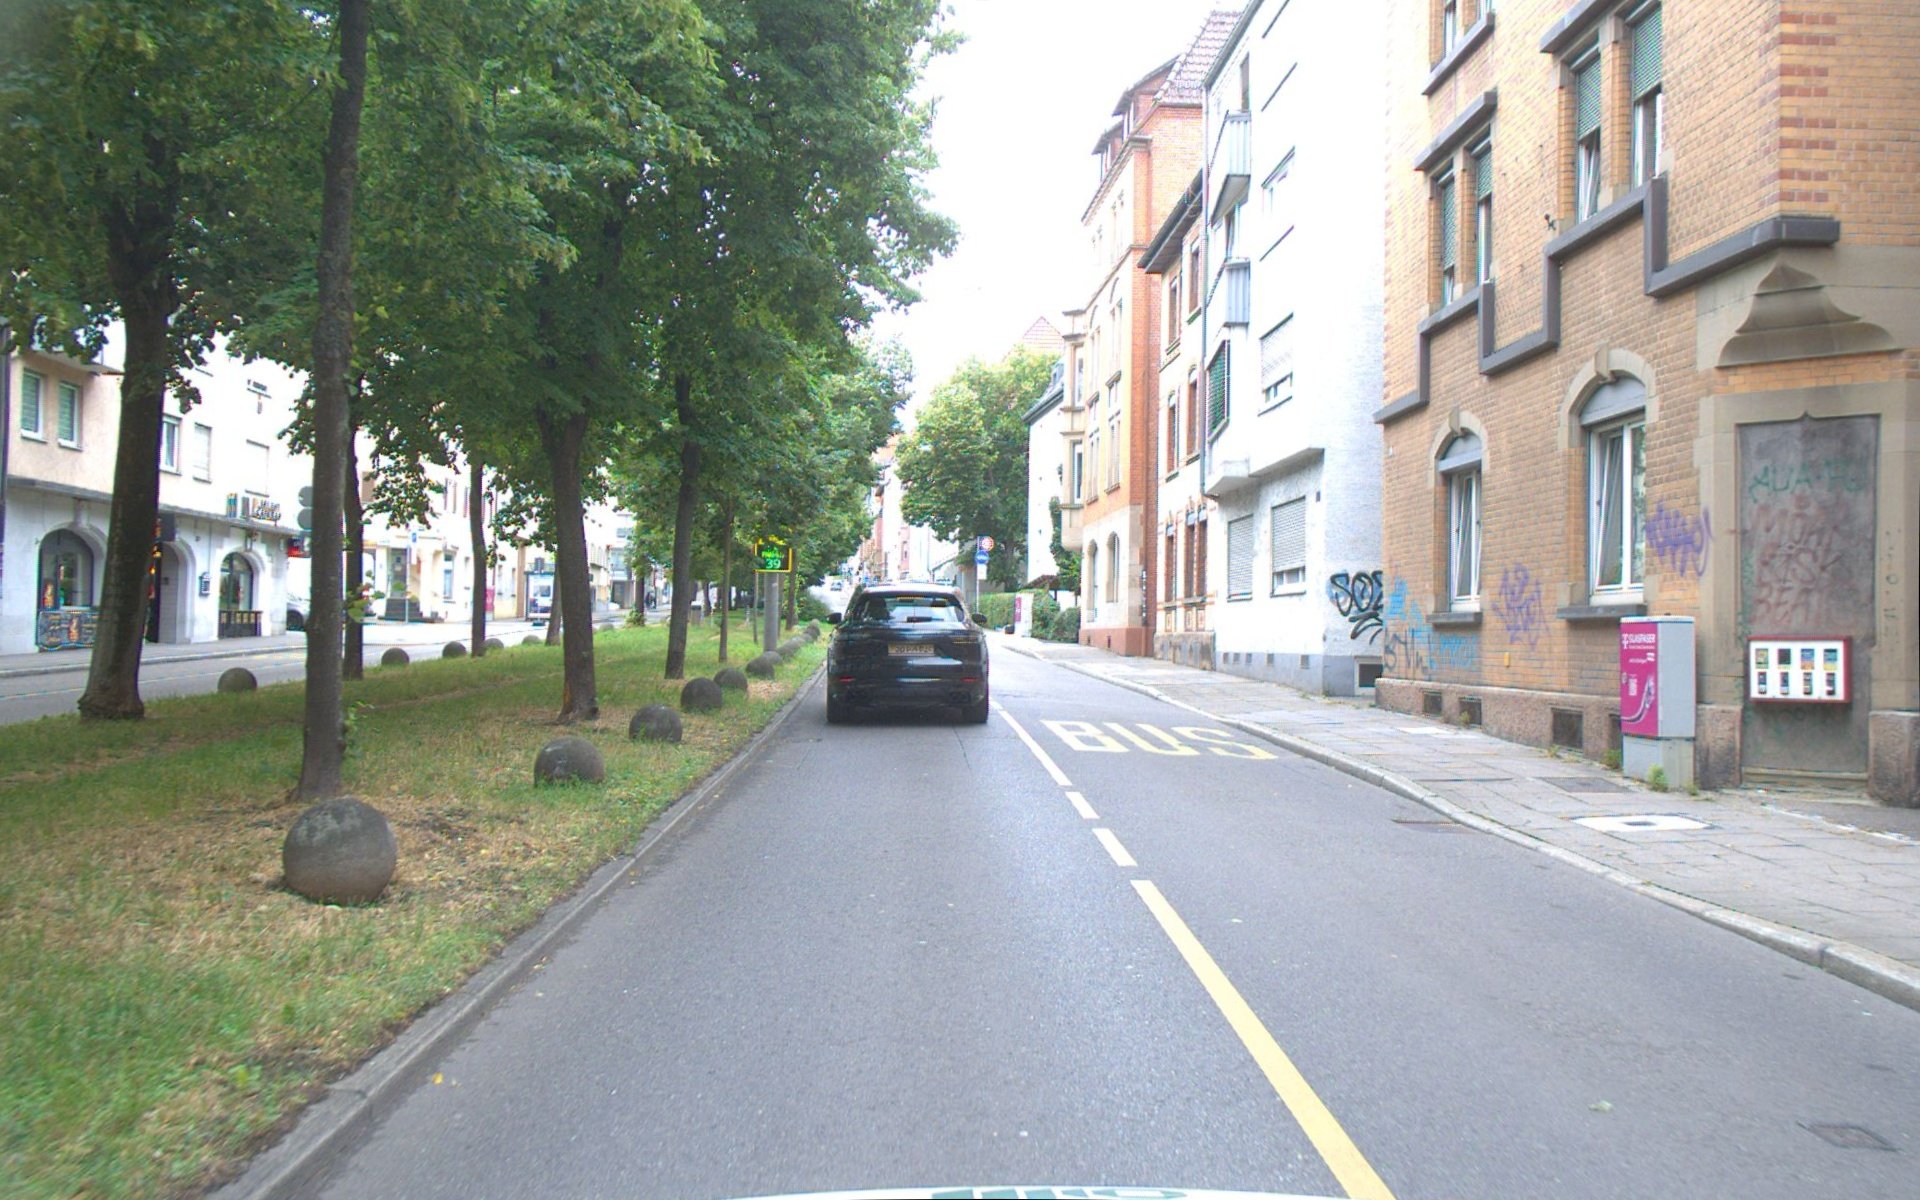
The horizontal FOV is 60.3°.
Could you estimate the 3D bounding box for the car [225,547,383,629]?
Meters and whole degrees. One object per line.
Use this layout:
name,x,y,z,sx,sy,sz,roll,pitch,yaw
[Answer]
car,-24.427,-0.427,61.811,5.084,2.784,2.170,2,-1,-13

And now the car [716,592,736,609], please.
car,-25.993,0.050,183.766,1.912,1.656,4.358,-5,0,-7

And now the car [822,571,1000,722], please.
car,-0.727,0.548,20.951,1.867,1.695,4.129,1,0,-7

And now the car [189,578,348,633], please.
car,-22.204,0.163,53.237,4.203,1.444,2.046,4,0,-3

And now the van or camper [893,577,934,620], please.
van or camper,-3.305,-0.079,115.809,2.431,2.852,7.230,1,0,-5

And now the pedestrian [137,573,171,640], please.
pedestrian,-20.573,0.157,42.237,0.521,1.695,0.700,1,0,-3
